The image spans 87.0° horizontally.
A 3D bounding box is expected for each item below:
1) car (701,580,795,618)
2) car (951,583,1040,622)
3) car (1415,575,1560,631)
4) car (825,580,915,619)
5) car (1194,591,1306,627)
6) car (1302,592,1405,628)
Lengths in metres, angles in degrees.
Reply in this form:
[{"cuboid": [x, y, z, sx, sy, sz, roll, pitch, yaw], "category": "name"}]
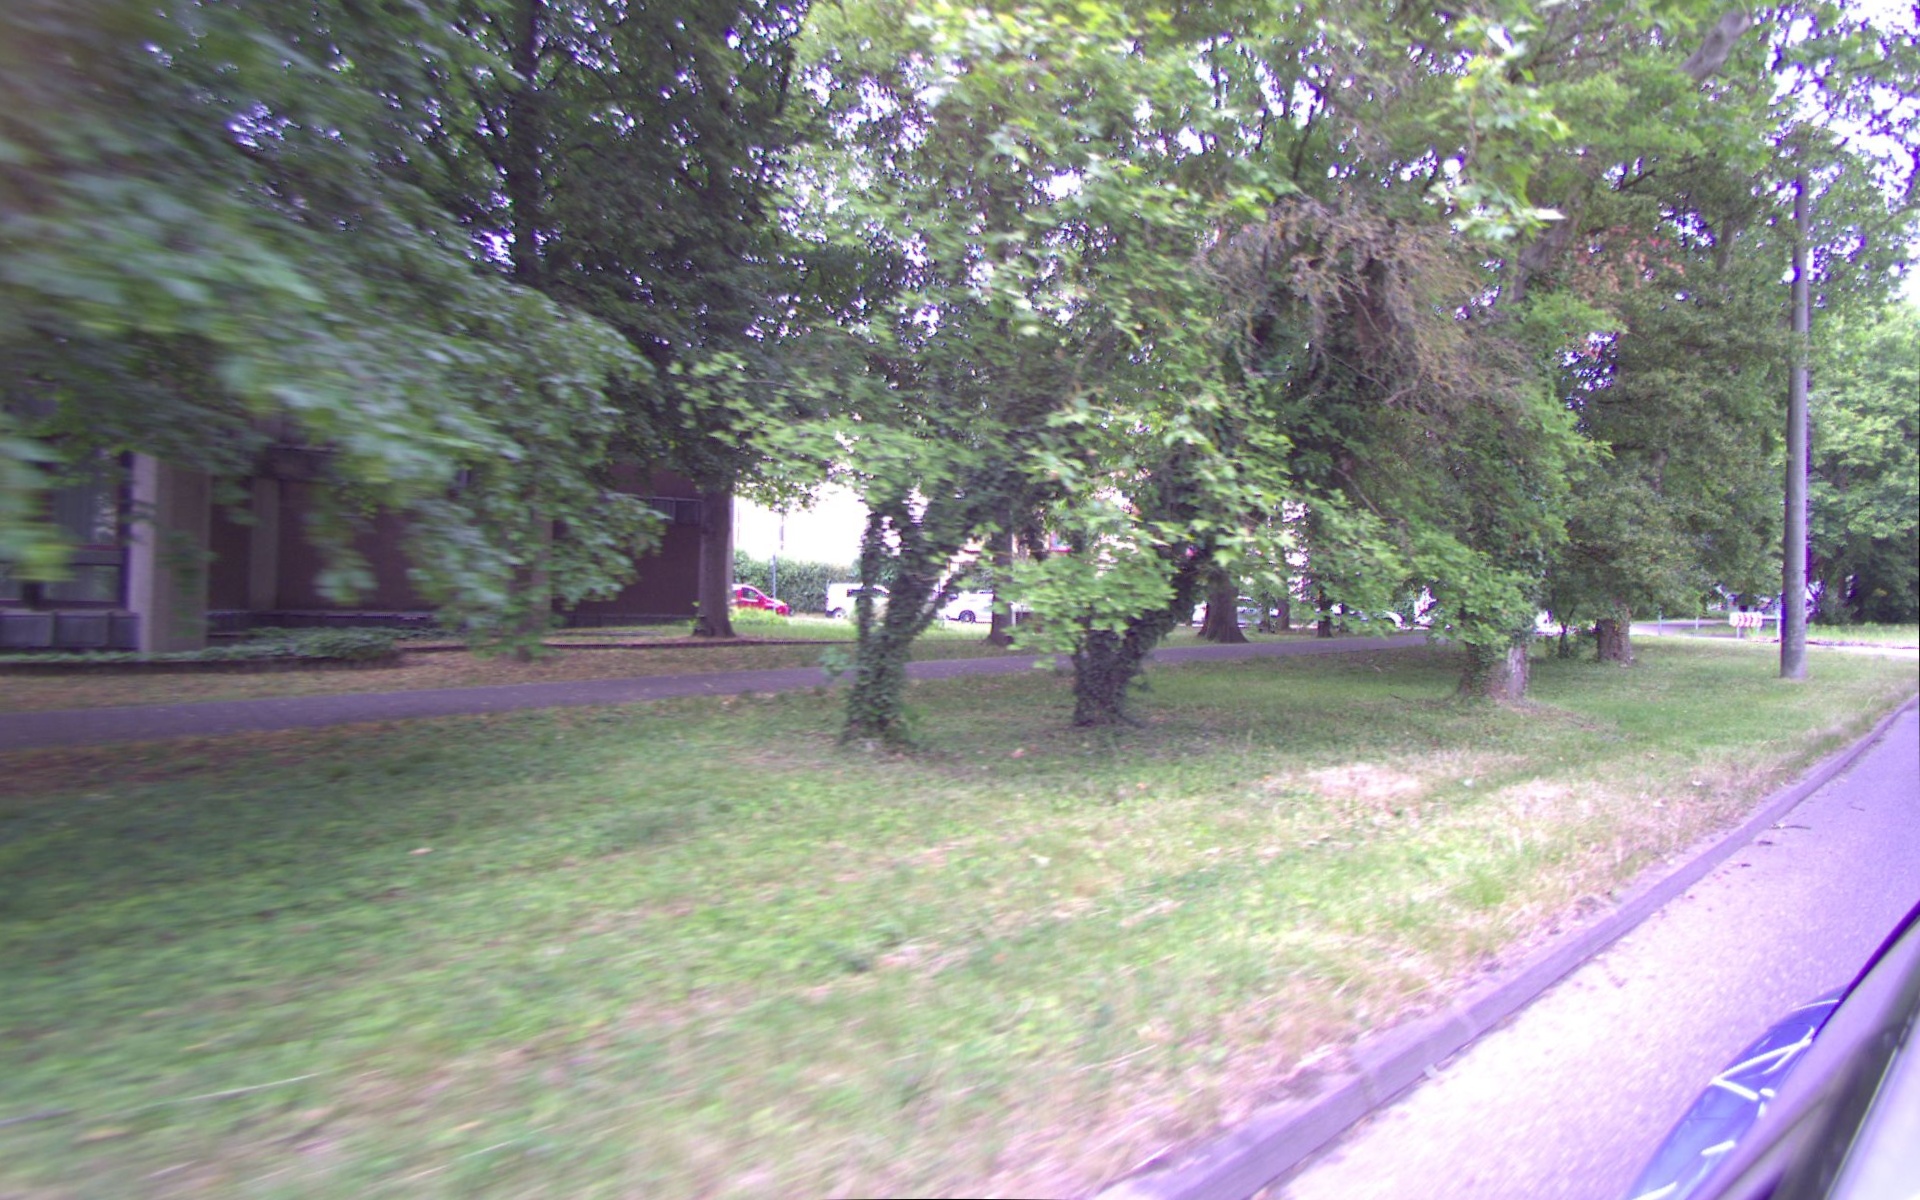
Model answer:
[{"cuboid": [-9.655, -0.042, 46.356, 3.925, 1.696, 1.799, 1, 0, 1], "category": "car"}, {"cuboid": [1.591, 0.108, 45.935, 3.925, 1.696, 1.799, 1, 0, 1], "category": "car"}, {"cuboid": [22.981, 0.112, 44.352, 5.250, 2.328, 2.281, 0, 0, 16], "category": "car"}, {"cuboid": [-4.057, -0.006, 46.208, 3.925, 1.696, 1.799, 1, 0, 1], "category": "car"}, {"cuboid": [13.010, 0.401, 45.635, 4.520, 1.529, 1.798, 1, 0, 3], "category": "car"}, {"cuboid": [17.548, 0.445, 45.279, 3.934, 1.529, 1.795, 1, 0, 9], "category": "car"}]
